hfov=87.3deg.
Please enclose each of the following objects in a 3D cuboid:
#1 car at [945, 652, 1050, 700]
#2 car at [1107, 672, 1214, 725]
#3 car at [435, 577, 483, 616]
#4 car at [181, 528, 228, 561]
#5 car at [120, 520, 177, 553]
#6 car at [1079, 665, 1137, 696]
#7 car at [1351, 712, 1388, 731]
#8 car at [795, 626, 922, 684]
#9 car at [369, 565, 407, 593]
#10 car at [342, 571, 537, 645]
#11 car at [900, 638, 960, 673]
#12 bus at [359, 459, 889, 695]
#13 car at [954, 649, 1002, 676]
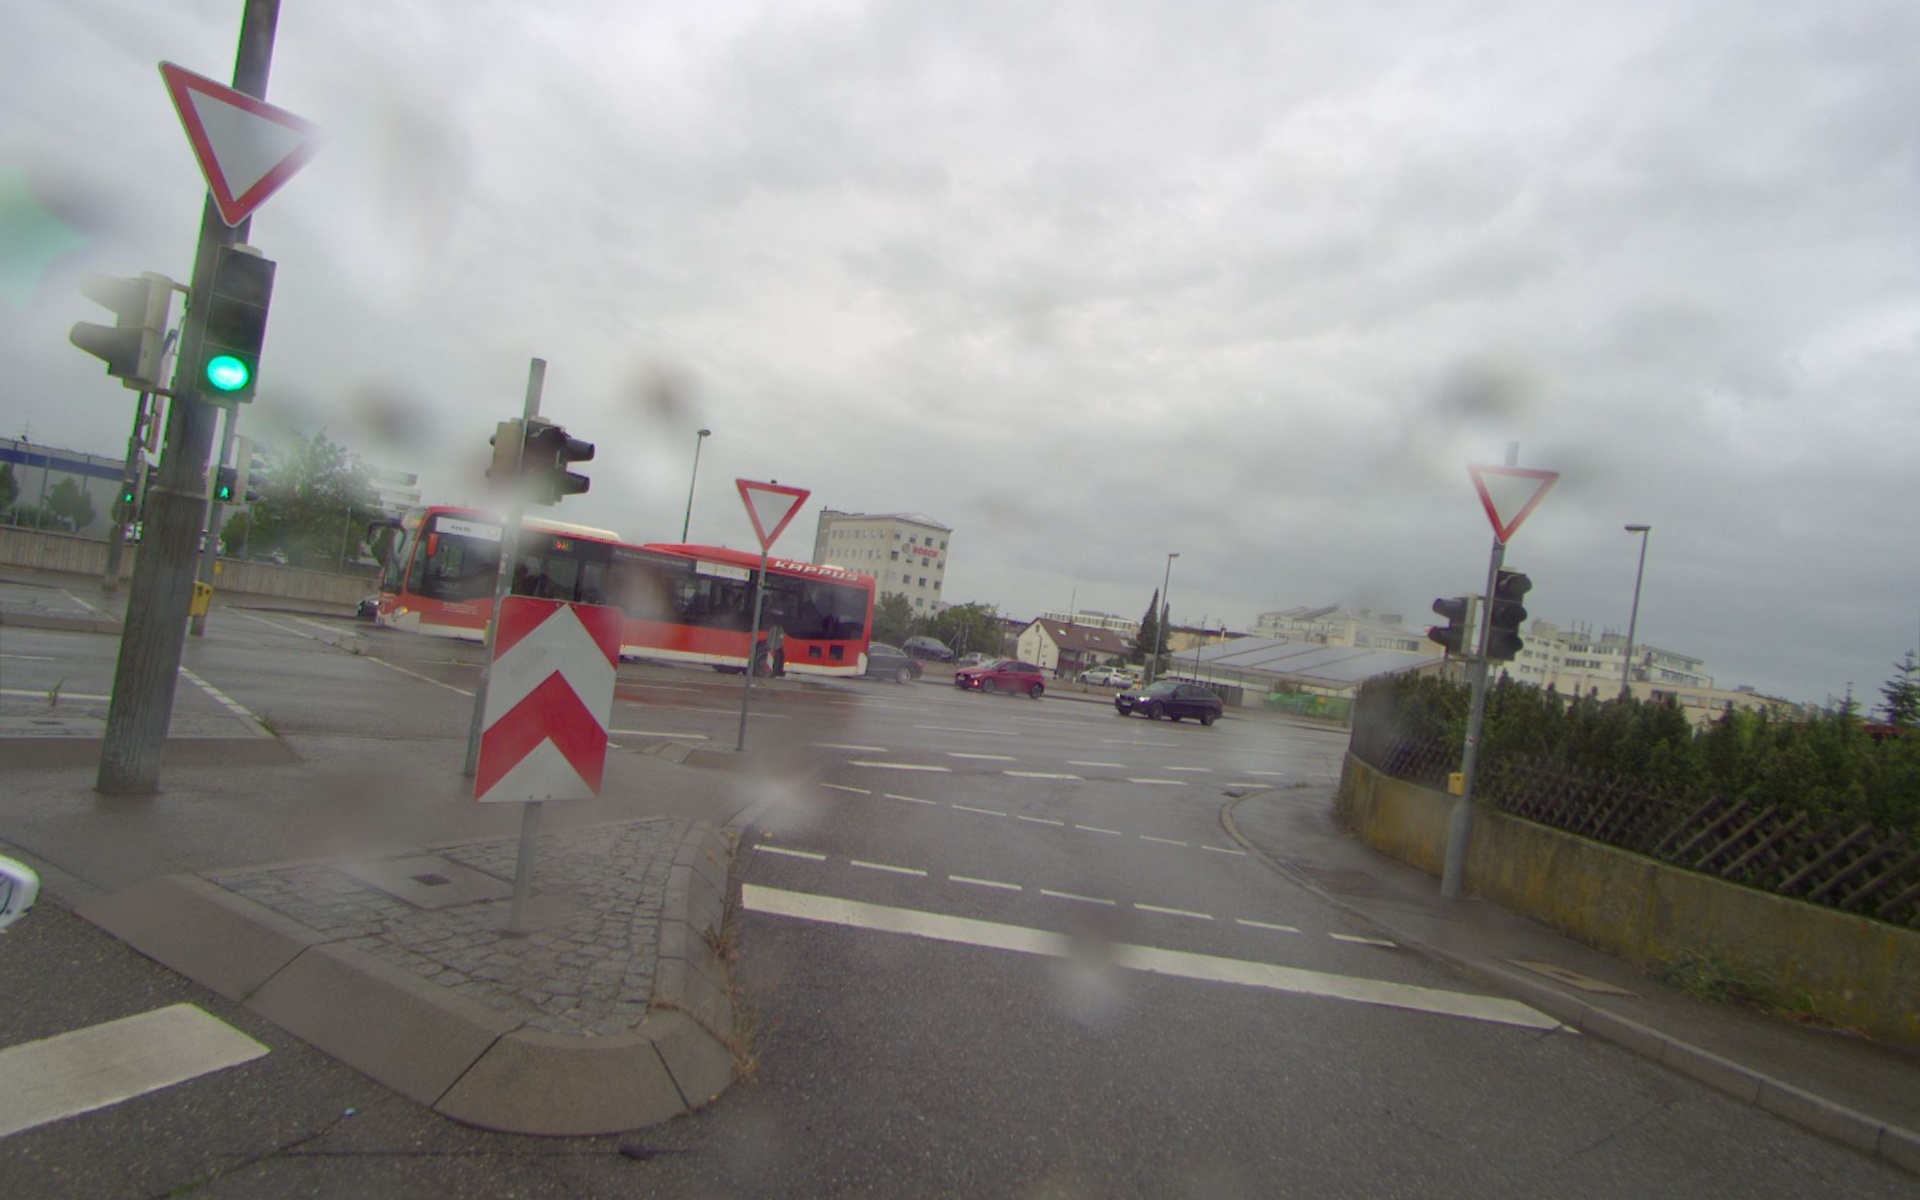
[{"bbox_3d":[1.587,3.156,41.684,3.948,1.525,1.853,9,-3,-37],"label":"car"},{"bbox_3d":[7.551,3.708,37.709,3.974,1.515,1.832,9,-3,-41],"label":"car"},{"bbox_3d":[-30.409,-0.244,61.033,1.734,2.037,3.786,8,-2,-37],"label":"car"},{"bbox_3d":[-43.291,-3.160,57.731,1.847,1.543,4.067,8,-3,-35],"label":"car"},{"bbox_3d":[-45.076,-3.511,55.960,1.805,1.450,4.071,8,-3,-32],"label":"car"},{"bbox_3d":[10.212,5.545,69.712,1.976,1.560,3.978,9,-3,-25],"label":"car"},{"bbox_3d":[41.565,12.344,102.130,3.616,1.436,1.720,10,-3,-36],"label":"car"},{"bbox_3d":[-3.711,2.077,37.372,4.367,1.555,1.804,10,-3,-42],"label":"car"},{"bbox_3d":[-40.997,-1.525,72.094,1.912,1.607,3.755,9,-3,-34],"label":"car"},{"bbox_3d":[-14.275,0.242,27.750,4.367,1.370,1.804,10,-3,-42],"label":"car"},{"bbox_3d":[-1.843,3.364,61.319,1.912,1.683,3.869,9,-2,-29],"label":"car"},{"bbox_3d":[-7.681,-0.160,25.363,12.223,3.614,2.953,12,-5,-41],"label":"bus"},{"bbox_3d":[1.471,5.136,83.023,1.980,1.636,3.970,9,-3,-30],"label":"car"}]
